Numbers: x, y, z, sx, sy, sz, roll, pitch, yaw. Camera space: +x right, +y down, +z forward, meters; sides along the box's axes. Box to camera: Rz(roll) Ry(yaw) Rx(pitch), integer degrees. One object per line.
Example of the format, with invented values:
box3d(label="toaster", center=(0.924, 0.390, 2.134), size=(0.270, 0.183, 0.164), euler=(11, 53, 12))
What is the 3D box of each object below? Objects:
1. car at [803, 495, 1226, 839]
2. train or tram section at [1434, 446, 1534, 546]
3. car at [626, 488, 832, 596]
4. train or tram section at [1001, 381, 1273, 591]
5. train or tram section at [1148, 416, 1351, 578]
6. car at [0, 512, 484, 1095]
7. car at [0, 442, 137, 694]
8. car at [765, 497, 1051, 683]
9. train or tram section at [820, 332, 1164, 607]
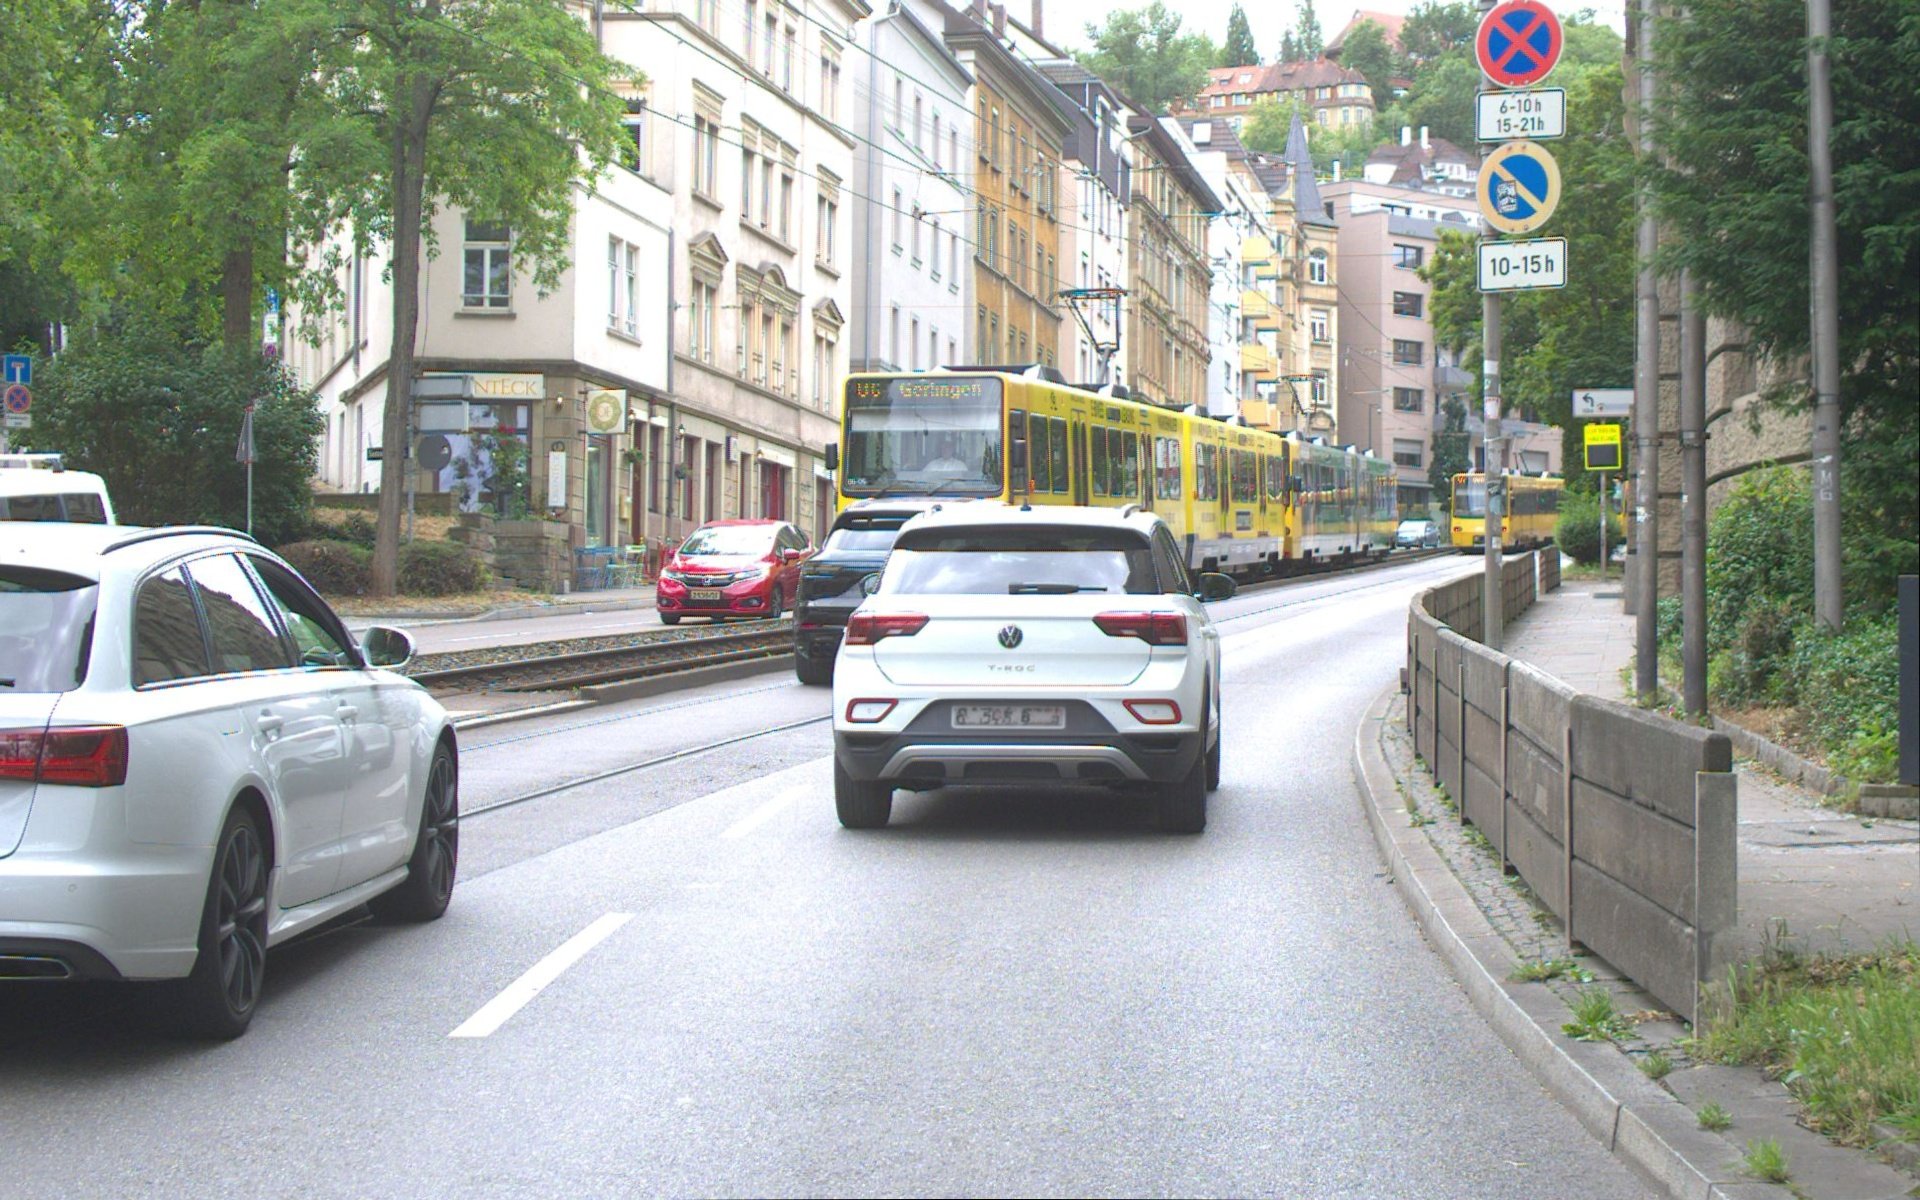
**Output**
box3d(label="car", center=(0.394, 0.255, 17.579), size=(1.879, 1.549, 4.000), euler=(0, 1, 5))
box3d(label="train or tram section", center=(23.541, -4.584, 153.577), size=(3.018, 4.199, 18.849), euler=(1, 1, 13))
box3d(label="car", center=(-3.310, -0.855, 50.027), size=(1.994, 1.498, 3.998), euler=(1, 1, 12))
box3d(label="train or tram section", center=(4.011, -2.259, 71.123), size=(2.878, 3.713, 18.694), euler=(2, 2, 11))
box3d(label="train or tram section", center=(7.793, -2.606, 89.442), size=(2.878, 3.713, 18.747), euler=(2, 2, 12))
box3d(label="car", center=(-2.893, 0.451, 10.904), size=(1.879, 1.450, 4.617), euler=(0, 1, 3))
box3d(label="car", center=(-8.345, -0.253, 26.593), size=(1.948, 1.939, 5.000), euler=(0, 2, 11))
box3d(label="car", center=(-0.390, -0.138, 31.359), size=(2.038, 1.566, 4.357), euler=(0, 1, 7))
box3d(label="train or tram section", center=(0.860, -1.958, 54.668), size=(2.884, 3.713, 14.850), euler=(2, 2, 10))
